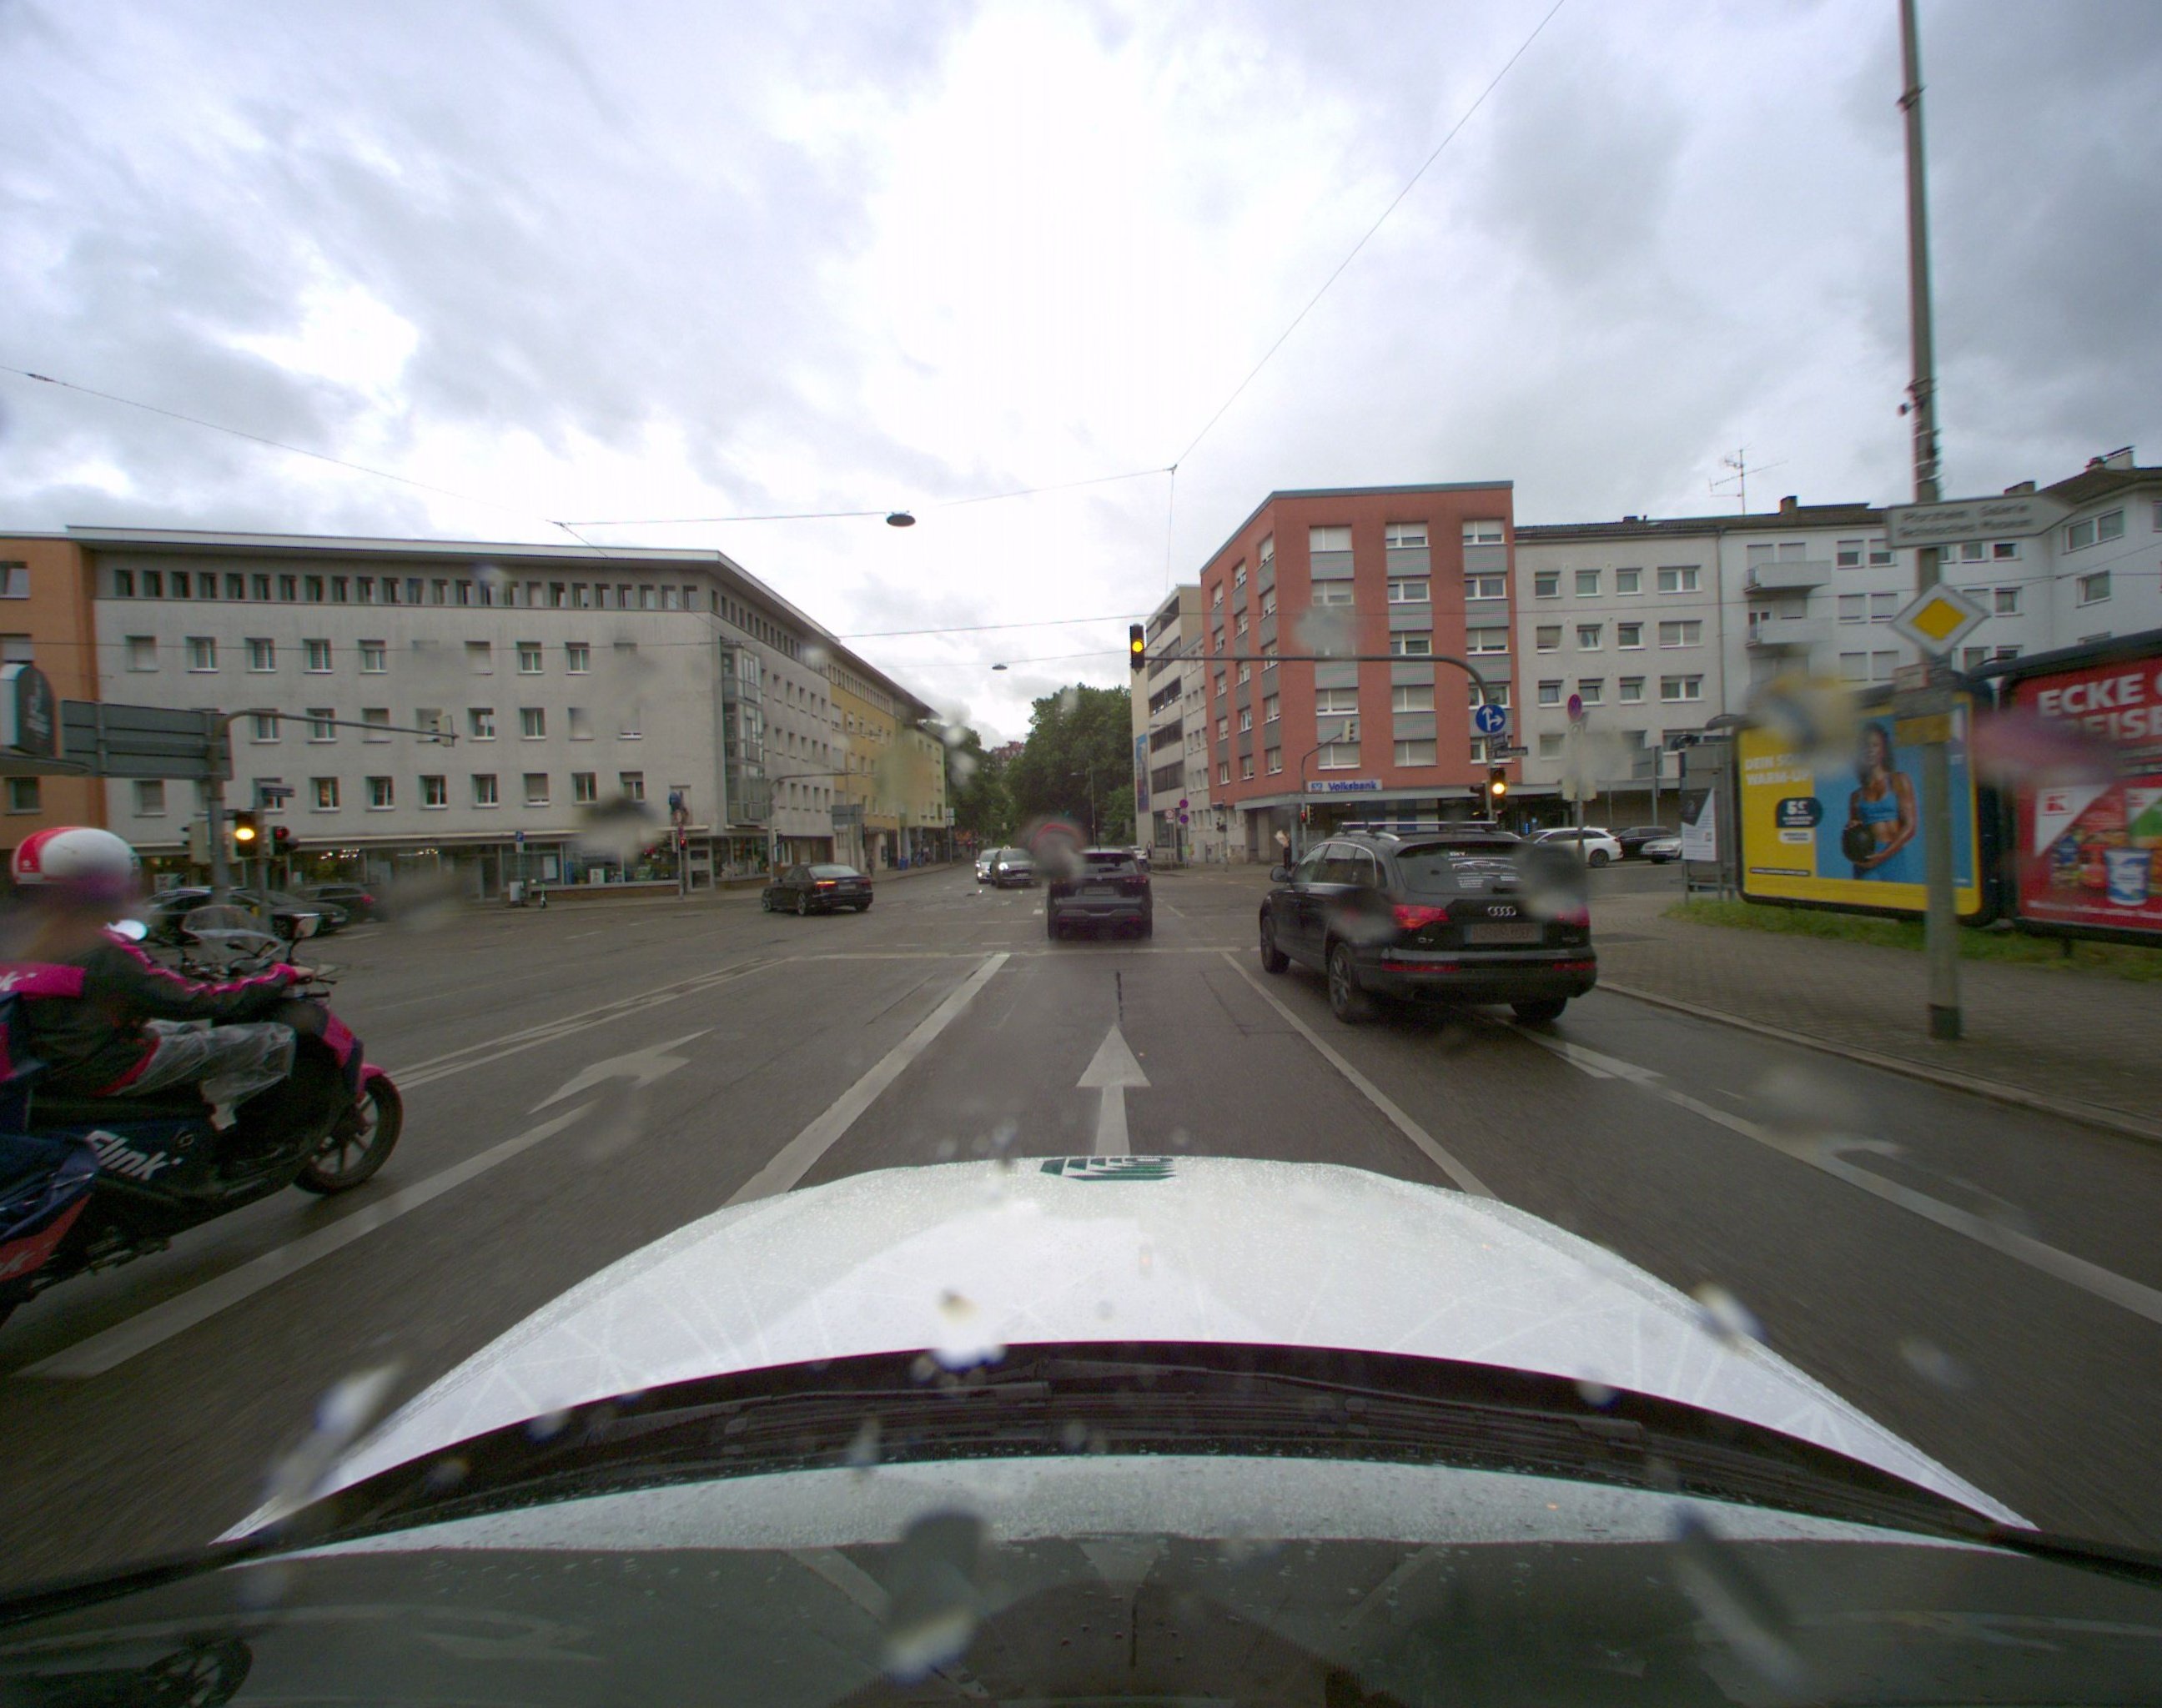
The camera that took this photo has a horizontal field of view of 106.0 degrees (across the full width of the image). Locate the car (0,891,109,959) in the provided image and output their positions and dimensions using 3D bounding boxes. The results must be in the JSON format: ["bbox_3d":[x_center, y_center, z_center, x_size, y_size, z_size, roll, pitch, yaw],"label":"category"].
[{"bbox_3d":[-30.033,1.980,21.968,4.637,1.589,2.041,-2,2,-8],"label":"car"}]

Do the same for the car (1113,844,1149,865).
[{"bbox_3d":[3.730,0.025,61.501,1.773,1.401,4.568,-4,1,-8],"label":"car"}]

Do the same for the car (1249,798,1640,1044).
[{"bbox_3d":[3.271,0.512,8.649,2.014,1.869,4.899,0,0,0],"label":"car"}]

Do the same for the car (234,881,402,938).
[{"bbox_3d":[-26.971,1.926,28.920,3.988,1.626,1.692,-3,0,-11],"label":"car"}]

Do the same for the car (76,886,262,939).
[{"bbox_3d":[-34.953,2.219,31.357,4.328,1.631,2.038,-3,0,-12],"label":"car"}]

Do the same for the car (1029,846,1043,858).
[{"bbox_3d":[-6.154,-0.333,111.061,1.818,1.612,3.859,0,1,-5],"label":"car"}]

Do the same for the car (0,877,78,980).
[{"bbox_3d":[-24.515,1.645,16.809,4.840,2.103,2.044,-3,-2,-3],"label":"car"}]

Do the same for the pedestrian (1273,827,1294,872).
[{"bbox_3d":[9.800,-0.239,39.508,0.822,2.158,0.770,0,1,1],"label":"pedestrian"}]

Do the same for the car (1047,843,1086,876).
[{"bbox_3d":[-0.869,0.318,46.803,1.942,1.684,3.994,-4,0,-4],"label":"car"}]

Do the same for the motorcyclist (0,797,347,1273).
[{"bbox_3d":[-3.535,0.567,2.978,0.912,1.493,0.863,0,0,-3],"label":"motorcyclist"}]

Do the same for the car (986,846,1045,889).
[{"bbox_3d":[-2.754,0.513,33.426,1.857,1.553,4.210,-3,0,-11],"label":"car"}]

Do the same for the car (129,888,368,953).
[{"bbox_3d":[-23.435,1.836,23.106,4.321,1.376,2.042,-2,2,-7],"label":"car"}]

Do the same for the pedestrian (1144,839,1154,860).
[{"bbox_3d":[5.848,-0.393,70.047,0.613,1.737,0.678,-4,0,-12],"label":"pedestrian"}]

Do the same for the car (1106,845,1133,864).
[{"bbox_3d":[3.208,-0.005,67.971,1.711,1.442,4.076,-4,1,-4],"label":"car"}]

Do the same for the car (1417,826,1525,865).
[{"bbox_3d":[17.227,-0.367,36.056,3.933,1.486,1.703,-3,0,0],"label":"car"}]

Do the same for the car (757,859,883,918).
[{"bbox_3d":[-7.677,0.930,23.685,2.010,1.387,4.449,-5,2,-38],"label":"car"}]

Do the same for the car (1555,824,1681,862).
[{"bbox_3d":[23.440,-0.493,35.632,4.354,1.425,1.668,-3,0,0],"label":"car"}]

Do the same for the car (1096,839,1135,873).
[{"bbox_3d":[2.037,0.109,49.266,1.940,1.816,3.998,-4,0,-1],"label":"car"}]

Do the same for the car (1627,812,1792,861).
[{"bbox_3d":[22.508,-0.617,29.287,4.494,1.486,1.845,-3,0,0],"label":"car"}]

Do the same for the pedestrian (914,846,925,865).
[{"bbox_3d":[-14.959,0.156,75.414,0.862,1.788,0.875,0,0,1],"label":"pedestrian"}]

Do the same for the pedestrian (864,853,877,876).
[{"bbox_3d":[-14.432,0.734,55.812,0.684,1.581,0.652,0,1,2],"label":"pedestrian"}]

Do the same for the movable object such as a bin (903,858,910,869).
[{"bbox_3d":[-15.371,0.838,71.735,0.397,1.006,0.545,-2,1,2],"label":"movable object such as a bin"}]

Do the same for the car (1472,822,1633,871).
[{"bbox_3d":[16.800,-0.279,29.159,4.637,1.486,1.919,-3,0,-1],"label":"car"}]

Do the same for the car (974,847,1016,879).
[{"bbox_3d":[-4.672,0.478,44.888,1.815,1.608,4.428,-3,0,-1],"label":"car"}]

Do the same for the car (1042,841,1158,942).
[{"bbox_3d":[0.269,0.596,15.361,1.889,1.629,3.998,-1,0,-2],"label":"car"}]

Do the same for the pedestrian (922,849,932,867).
[{"bbox_3d":[-14.715,0.340,77.999,0.797,1.688,0.815,-2,0,-6],"label":"pedestrian"}]

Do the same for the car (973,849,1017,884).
[{"bbox_3d":[-4.089,0.586,39.341,1.931,1.527,4.128,-3,0,-5],"label":"car"}]

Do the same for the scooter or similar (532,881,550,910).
[{"bbox_3d":[-22.878,1.755,34.507,0.366,1.094,1.127,-4,3,-22],"label":"scooter or similar"}]

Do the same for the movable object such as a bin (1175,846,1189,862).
[{"bbox_3d":[7.392,-0.002,59.663,0.713,1.068,0.781,-3,1,-12],"label":"movable object such as a bin"}]

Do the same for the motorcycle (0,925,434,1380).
[{"bbox_3d":[-3.530,0.964,3.056,0.585,1.191,2.100,0,0,-2],"label":"motorcycle"}]

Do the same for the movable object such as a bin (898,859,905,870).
[{"bbox_3d":[-15.310,0.874,69.532,0.452,0.929,0.503,-2,1,2],"label":"movable object such as a bin"}]

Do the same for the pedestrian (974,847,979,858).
[{"bbox_3d":[-18.270,-0.280,142.428,0.667,1.791,0.719,-1,1,-12],"label":"pedestrian"}]
